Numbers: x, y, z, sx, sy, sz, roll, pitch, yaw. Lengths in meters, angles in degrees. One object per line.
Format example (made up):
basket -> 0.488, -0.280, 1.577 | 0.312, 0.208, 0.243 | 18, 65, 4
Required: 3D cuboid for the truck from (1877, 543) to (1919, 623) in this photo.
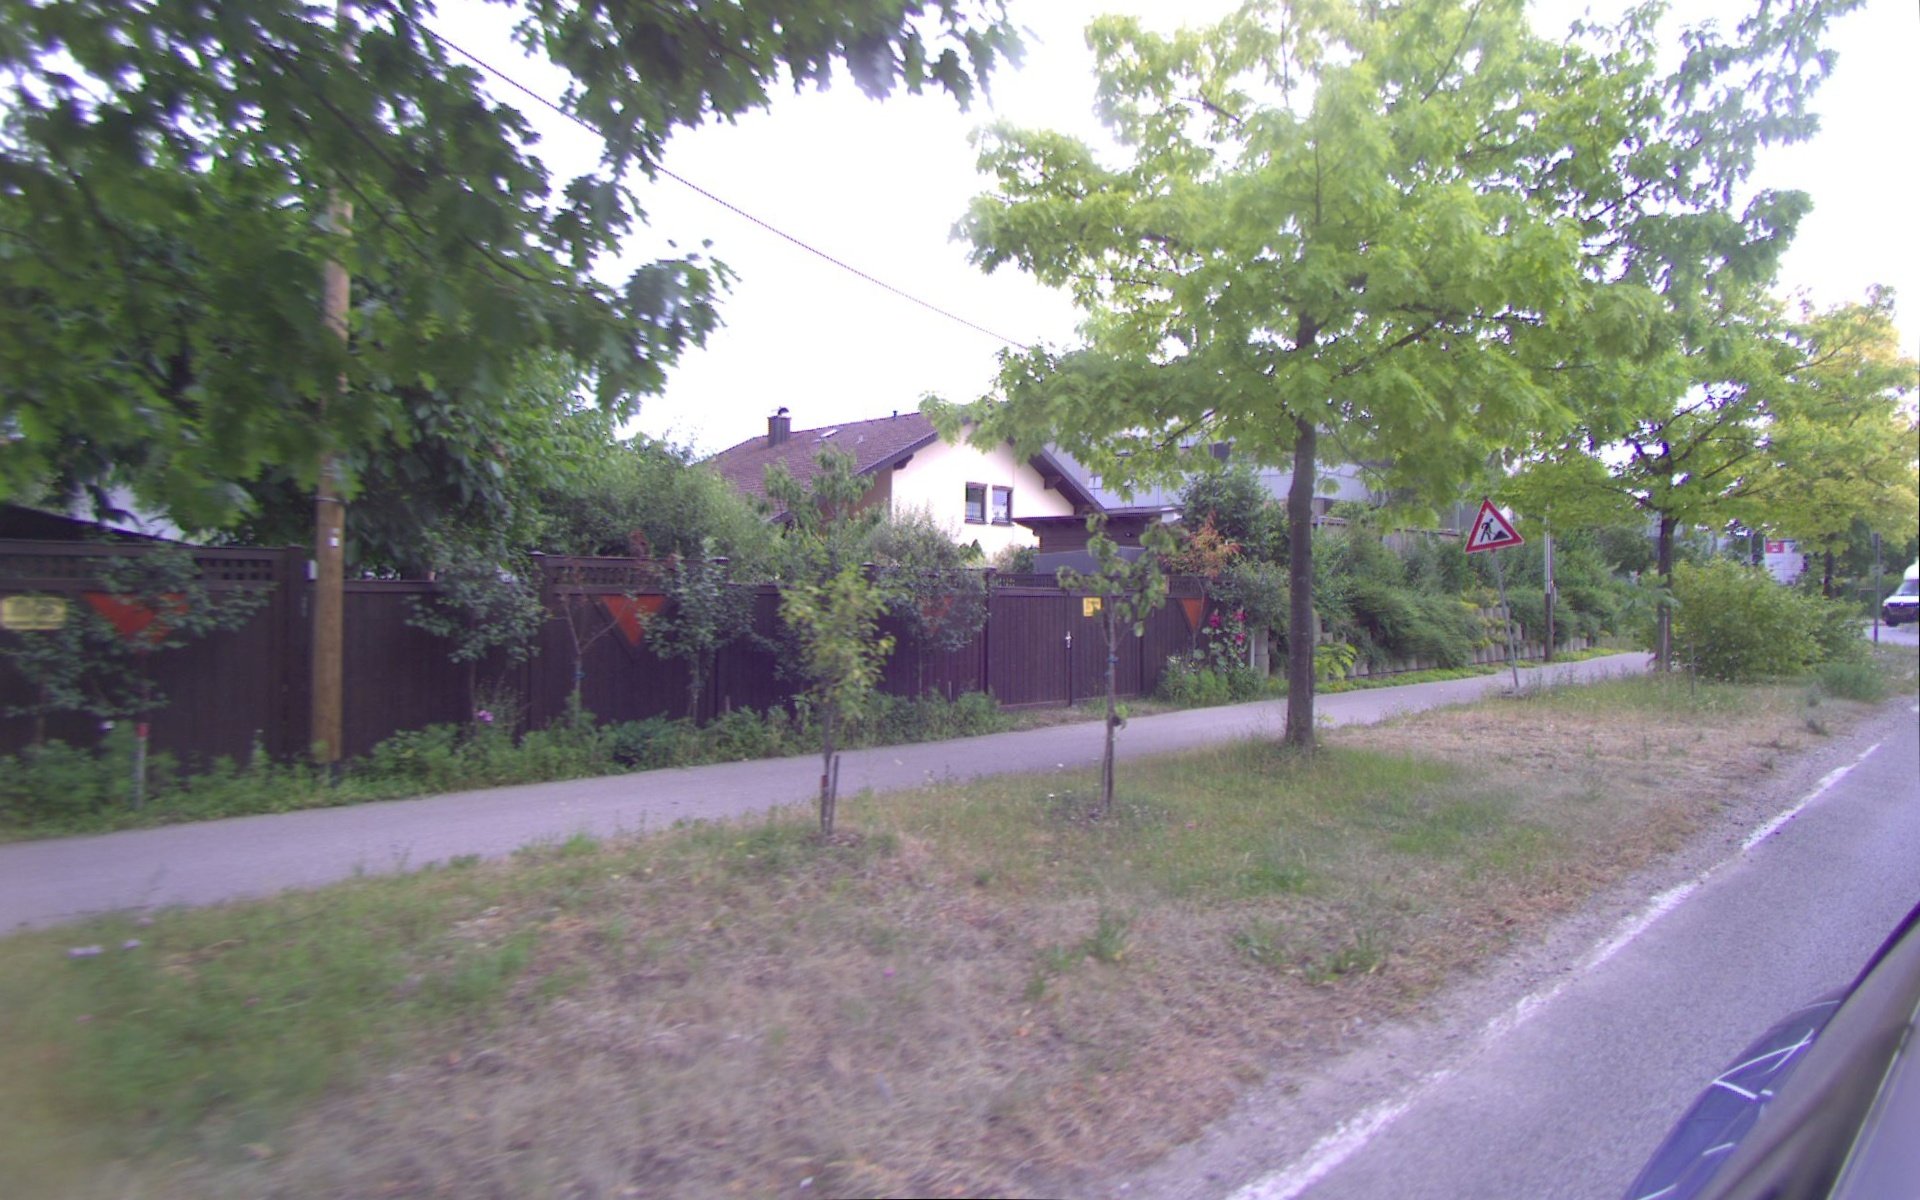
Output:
truck -> 45.280, -0.747, 45.132 | 7.350, 3.491, 2.621 | 0, 0, -11
